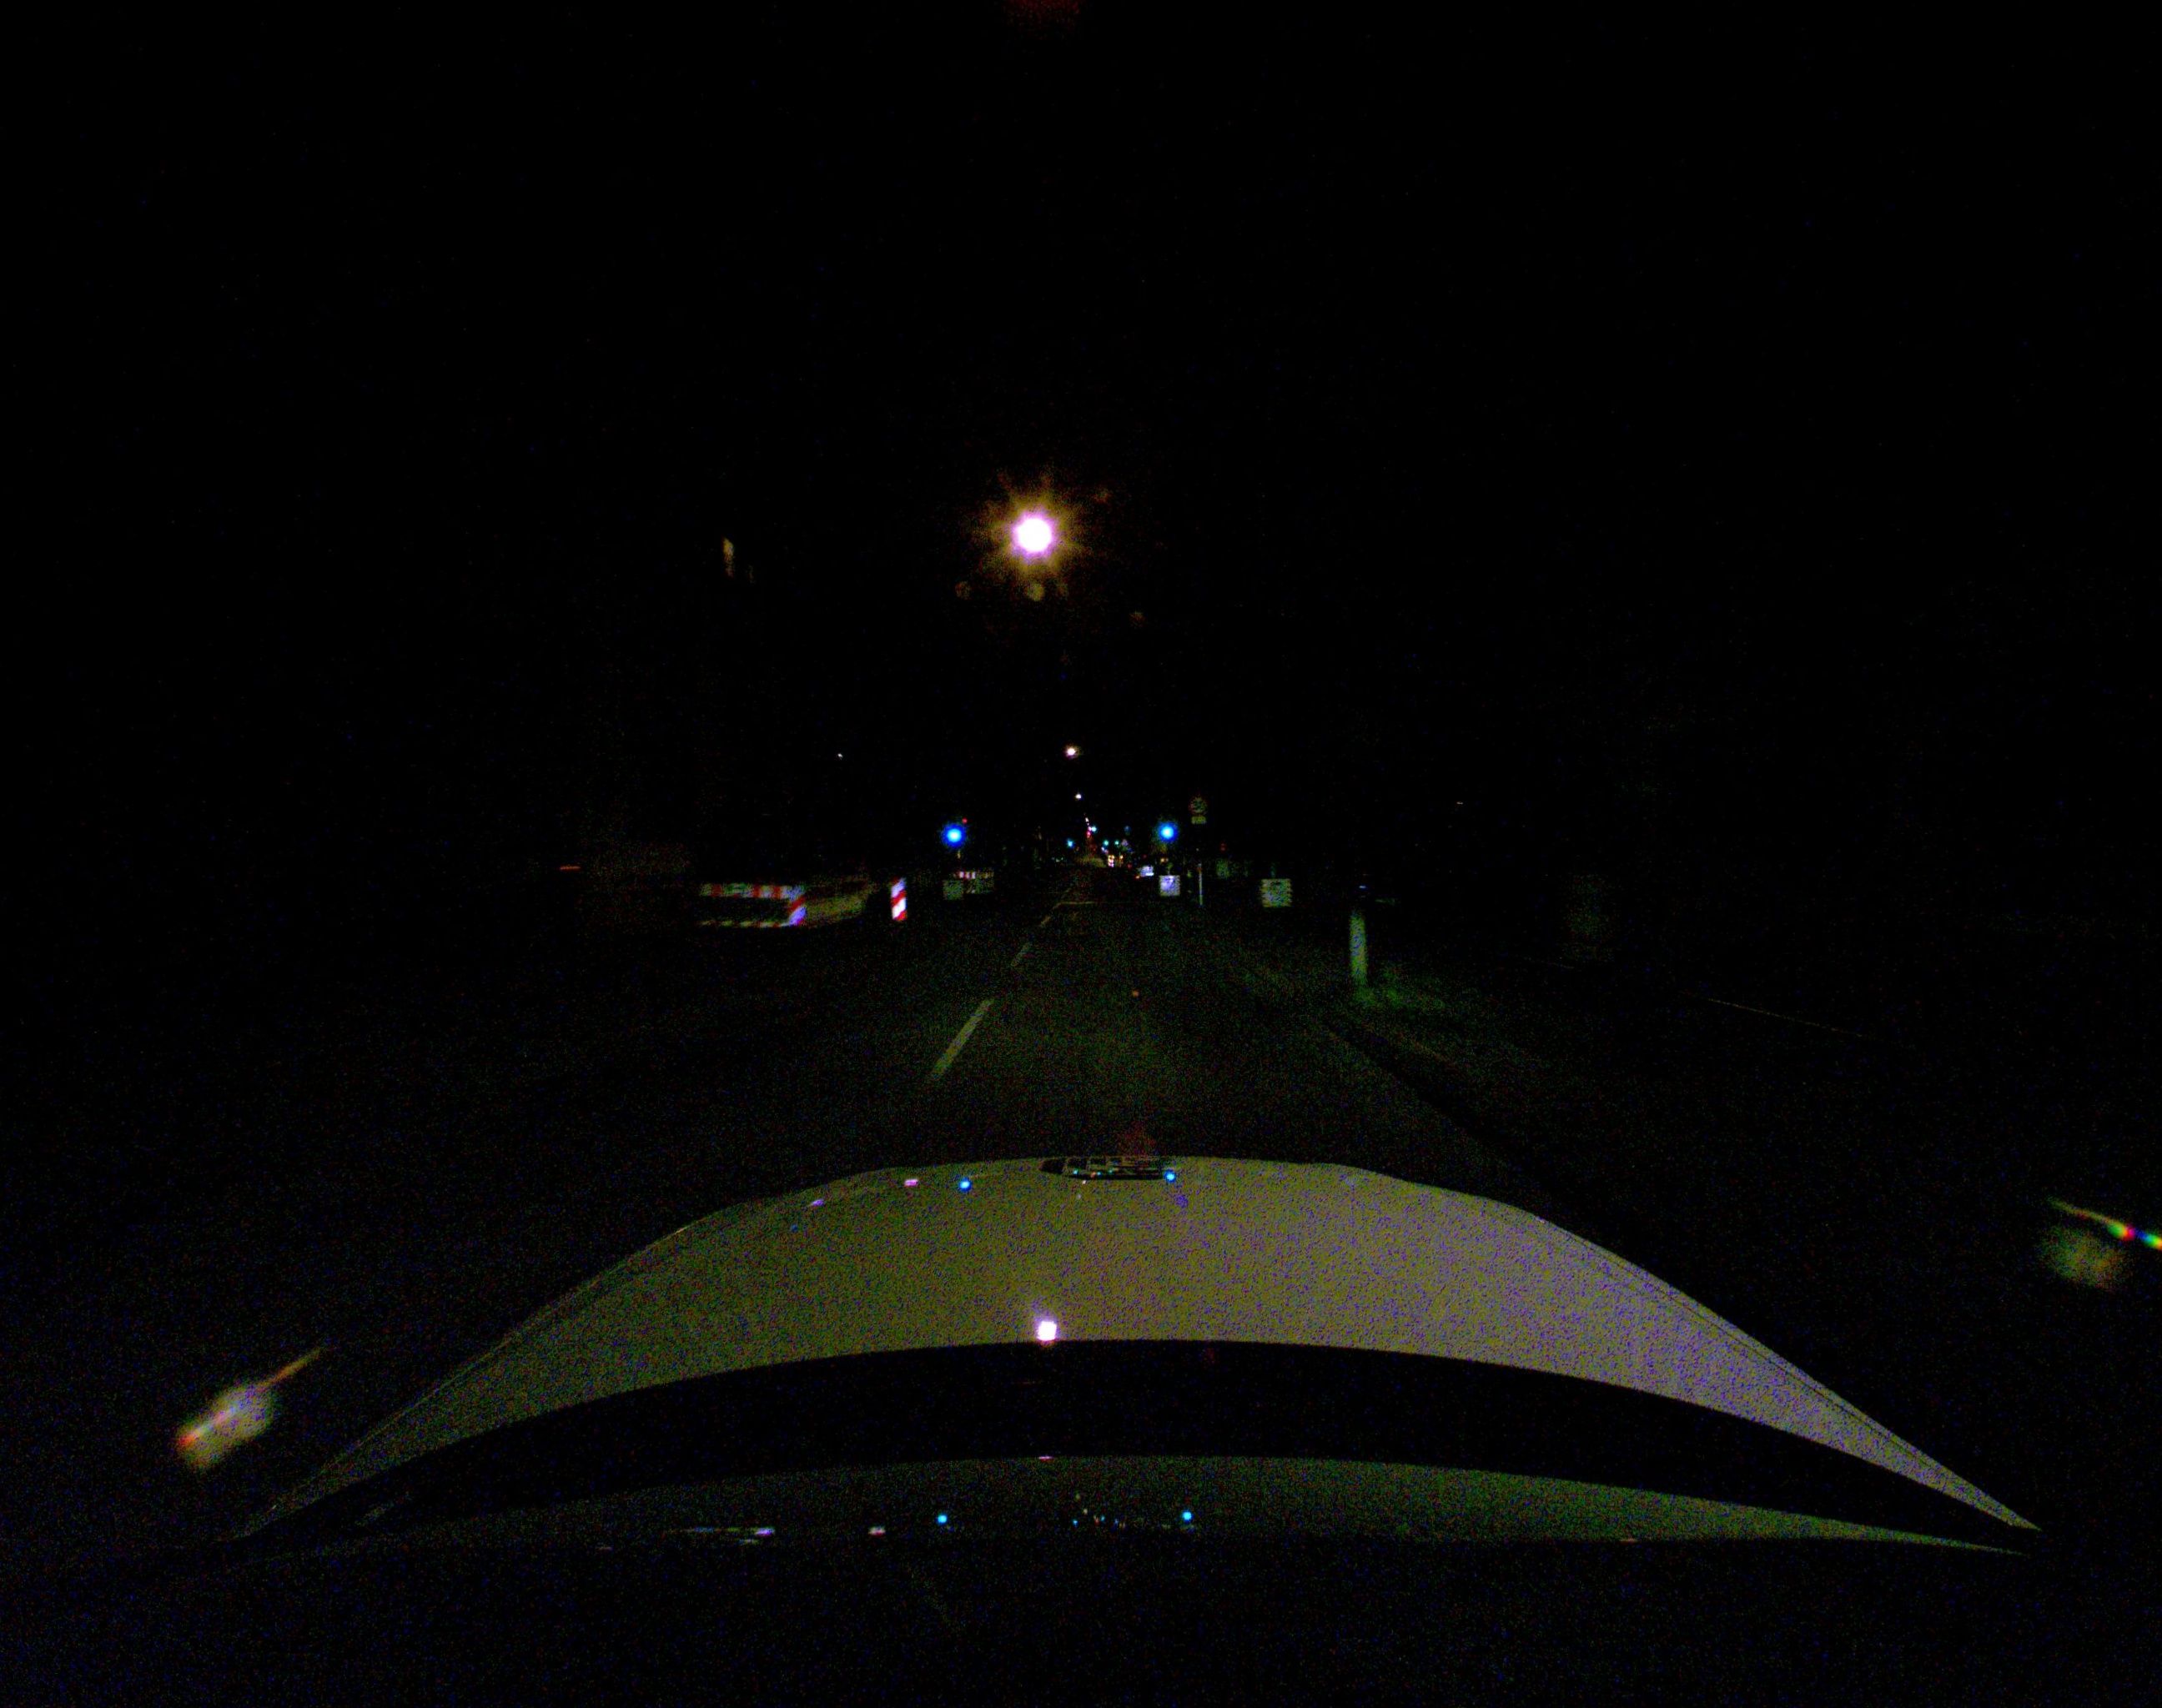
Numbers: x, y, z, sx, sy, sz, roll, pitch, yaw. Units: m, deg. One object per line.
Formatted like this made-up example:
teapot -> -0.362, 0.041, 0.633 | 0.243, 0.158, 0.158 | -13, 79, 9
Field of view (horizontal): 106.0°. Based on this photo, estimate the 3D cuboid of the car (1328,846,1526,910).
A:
car -> 8.262, 0.587, 19.701 | 4.002, 1.422, 1.851 | -1, -2, -1

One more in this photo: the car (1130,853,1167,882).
car -> 3.777, 0.741, 46.131 | 1.733, 1.477, 4.001 | -3, 0, 1

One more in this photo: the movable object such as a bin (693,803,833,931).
movable object such as a bin -> -7.206, 0.269, 18.888 | 1.565, 2.627, 3.911 | -1, 0, 2

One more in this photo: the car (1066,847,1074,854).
car -> -2.626, -0.806, 196.659 | 1.867, 1.544, 4.205 | 0, 0, 1

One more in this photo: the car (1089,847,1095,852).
car -> 3.360, -1.411, 255.145 | 1.866, 1.814, 4.206 | 0, 0, 2

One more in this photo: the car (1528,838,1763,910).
car -> 12.878, 0.441, 18.742 | 4.181, 1.468, 1.850 | -1, 0, -3

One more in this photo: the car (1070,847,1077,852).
car -> -2.050, -1.241, 234.049 | 1.867, 1.544, 4.205 | 0, 0, 1

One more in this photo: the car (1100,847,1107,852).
car -> 6.779, -1.429, 246.951 | 1.867, 1.544, 4.205 | 0, 0, 1

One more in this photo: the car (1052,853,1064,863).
car -> -3.488, 0.642, 124.572 | 1.665, 1.443, 4.205 | 0, 0, 1

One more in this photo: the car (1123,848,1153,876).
car -> 3.971, 0.561, 57.219 | 1.730, 1.855, 4.314 | -1, 0, -1

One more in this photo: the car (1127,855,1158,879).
car -> 3.831, 0.802, 51.281 | 1.680, 1.421, 4.443 | -1, 0, 1

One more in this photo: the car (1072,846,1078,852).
car -> -1.779, -1.517, 239.940 | 1.867, 1.814, 4.205 | 0, 1, 1
